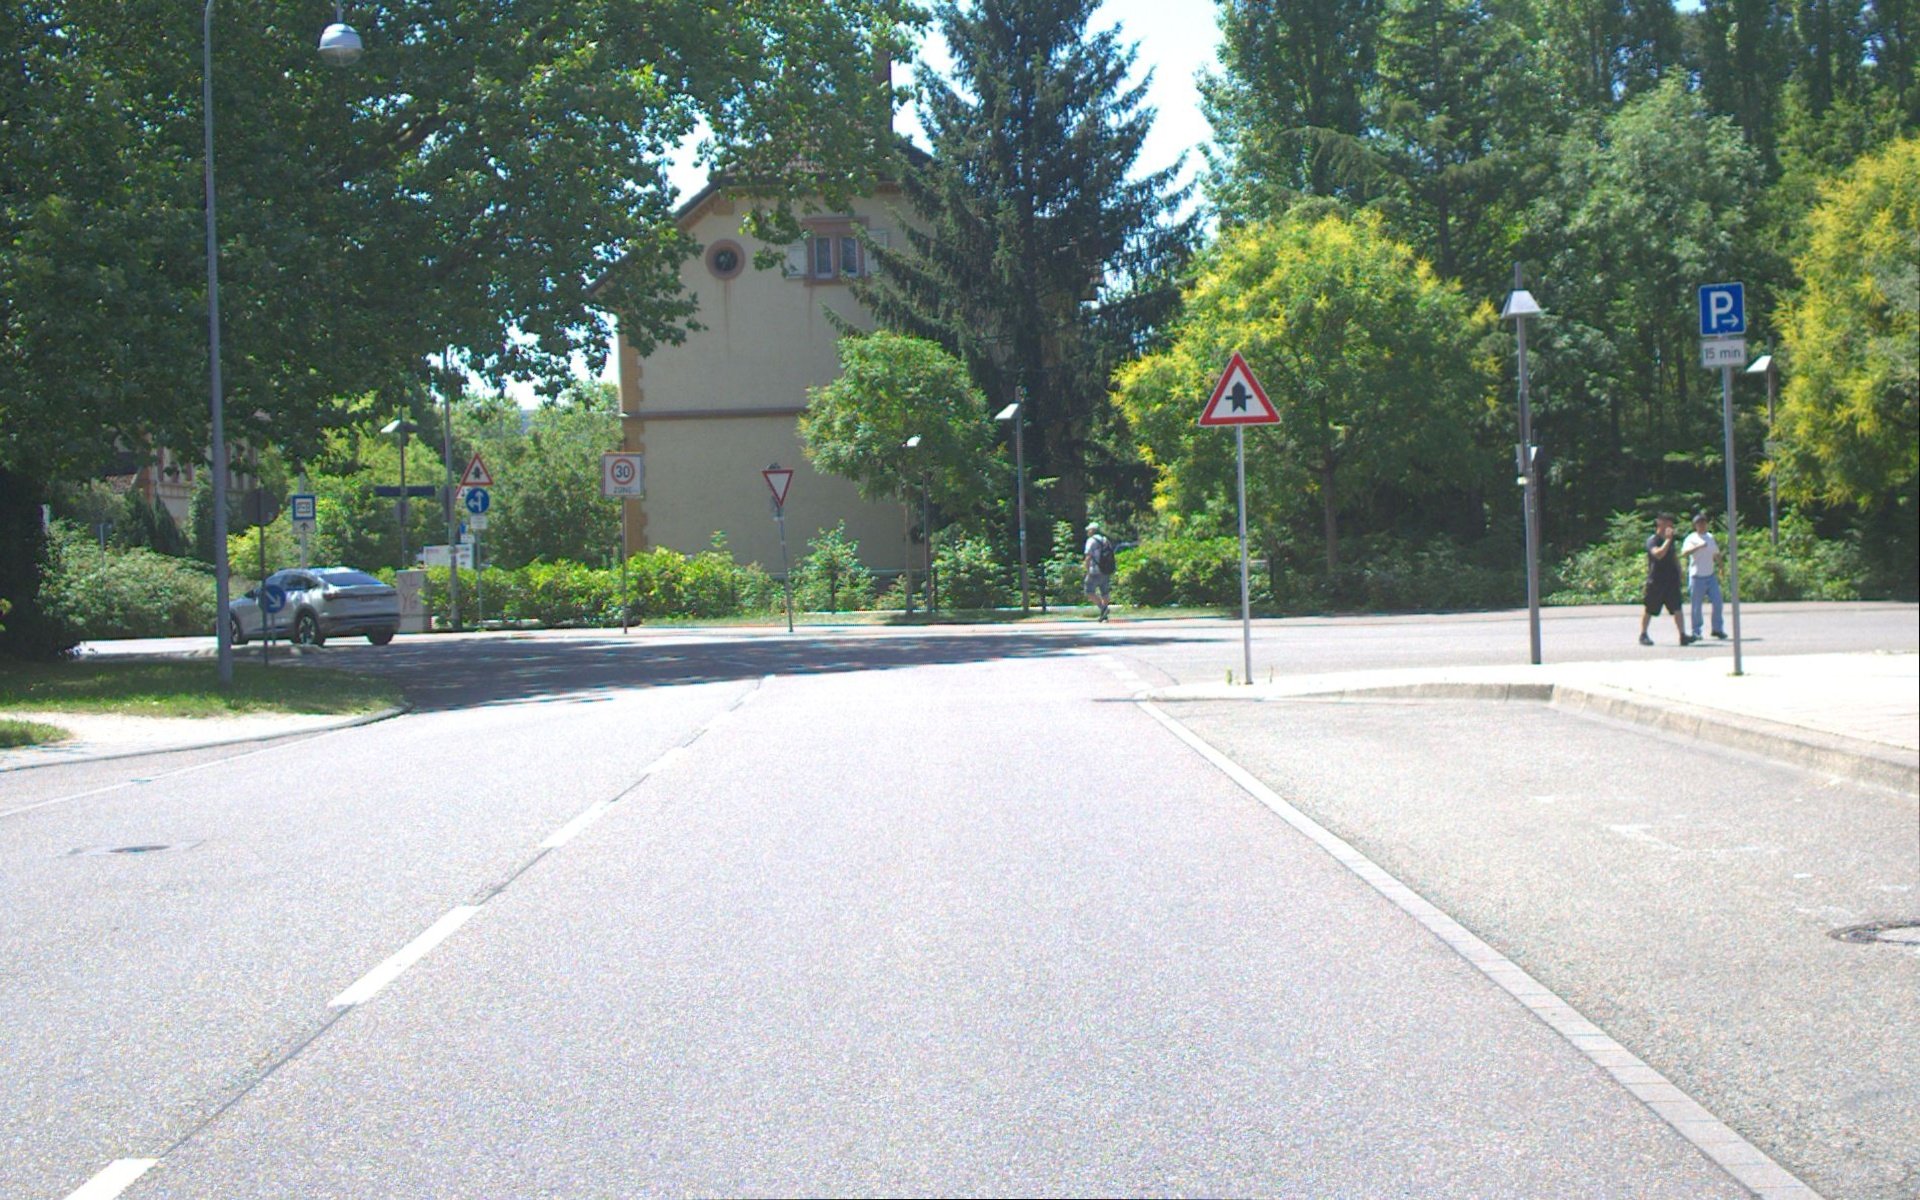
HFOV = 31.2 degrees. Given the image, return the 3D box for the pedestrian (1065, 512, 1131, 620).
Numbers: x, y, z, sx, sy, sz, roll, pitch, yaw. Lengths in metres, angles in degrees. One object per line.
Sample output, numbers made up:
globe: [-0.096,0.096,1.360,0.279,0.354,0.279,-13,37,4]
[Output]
pedestrian: [2.536,-0.617,63.251,0.804,1.959,0.856,-2,1,-40]

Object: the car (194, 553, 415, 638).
car: [-13.592,-0.076,71.143,4.774,1.621,1.984,-1,1,43]

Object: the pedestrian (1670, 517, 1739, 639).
pedestrian: [10.138,-0.292,46.792,0.721,1.644,0.749,-1,-1,28]

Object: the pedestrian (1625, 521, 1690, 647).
pedestrian: [9.252,-0.206,45.621,0.636,1.644,0.749,-1,-1,28]
